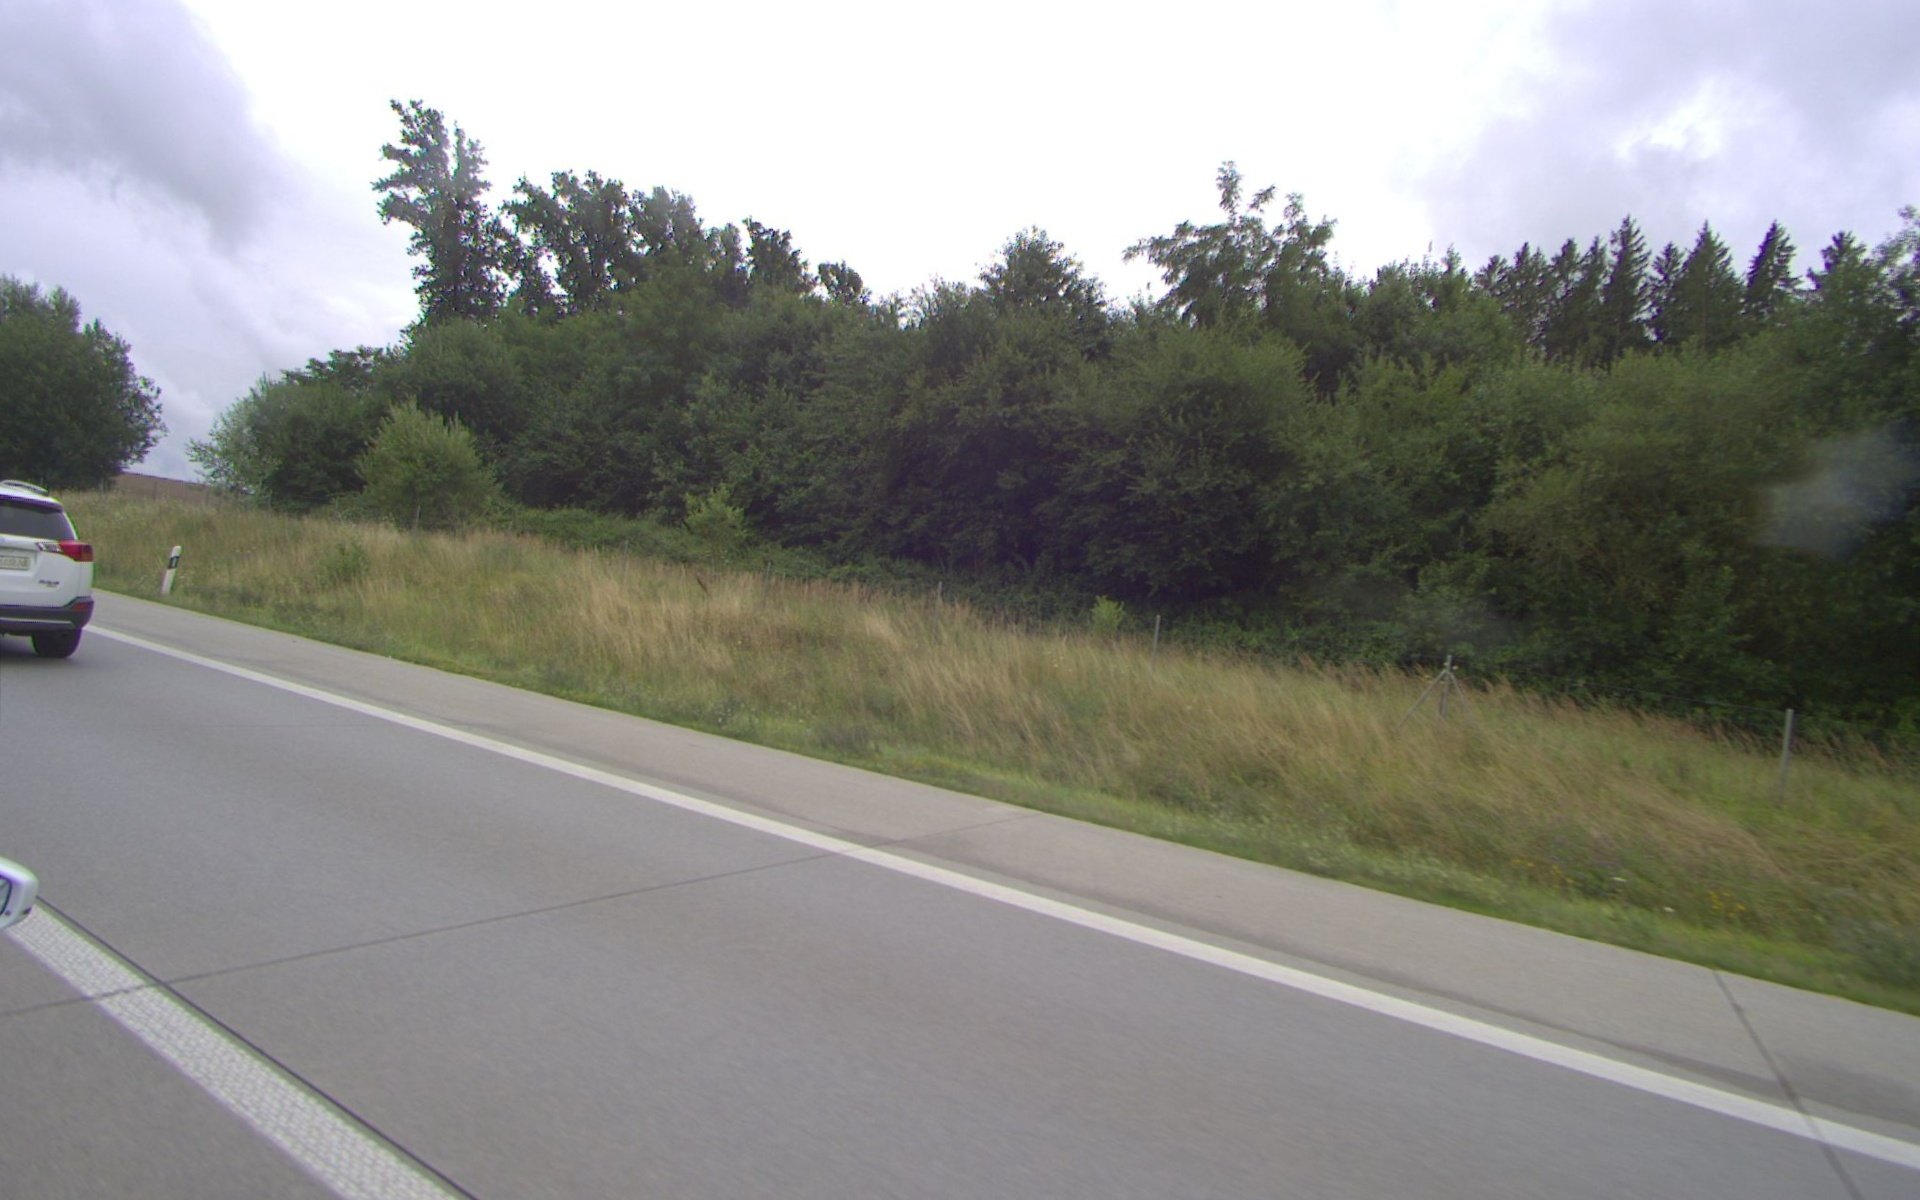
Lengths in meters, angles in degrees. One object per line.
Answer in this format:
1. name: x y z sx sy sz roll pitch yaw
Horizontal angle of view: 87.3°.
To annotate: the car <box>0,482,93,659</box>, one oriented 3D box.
1. car: -11.079 -0.511 10.487 3.918 1.674 1.830 7 -2 31
